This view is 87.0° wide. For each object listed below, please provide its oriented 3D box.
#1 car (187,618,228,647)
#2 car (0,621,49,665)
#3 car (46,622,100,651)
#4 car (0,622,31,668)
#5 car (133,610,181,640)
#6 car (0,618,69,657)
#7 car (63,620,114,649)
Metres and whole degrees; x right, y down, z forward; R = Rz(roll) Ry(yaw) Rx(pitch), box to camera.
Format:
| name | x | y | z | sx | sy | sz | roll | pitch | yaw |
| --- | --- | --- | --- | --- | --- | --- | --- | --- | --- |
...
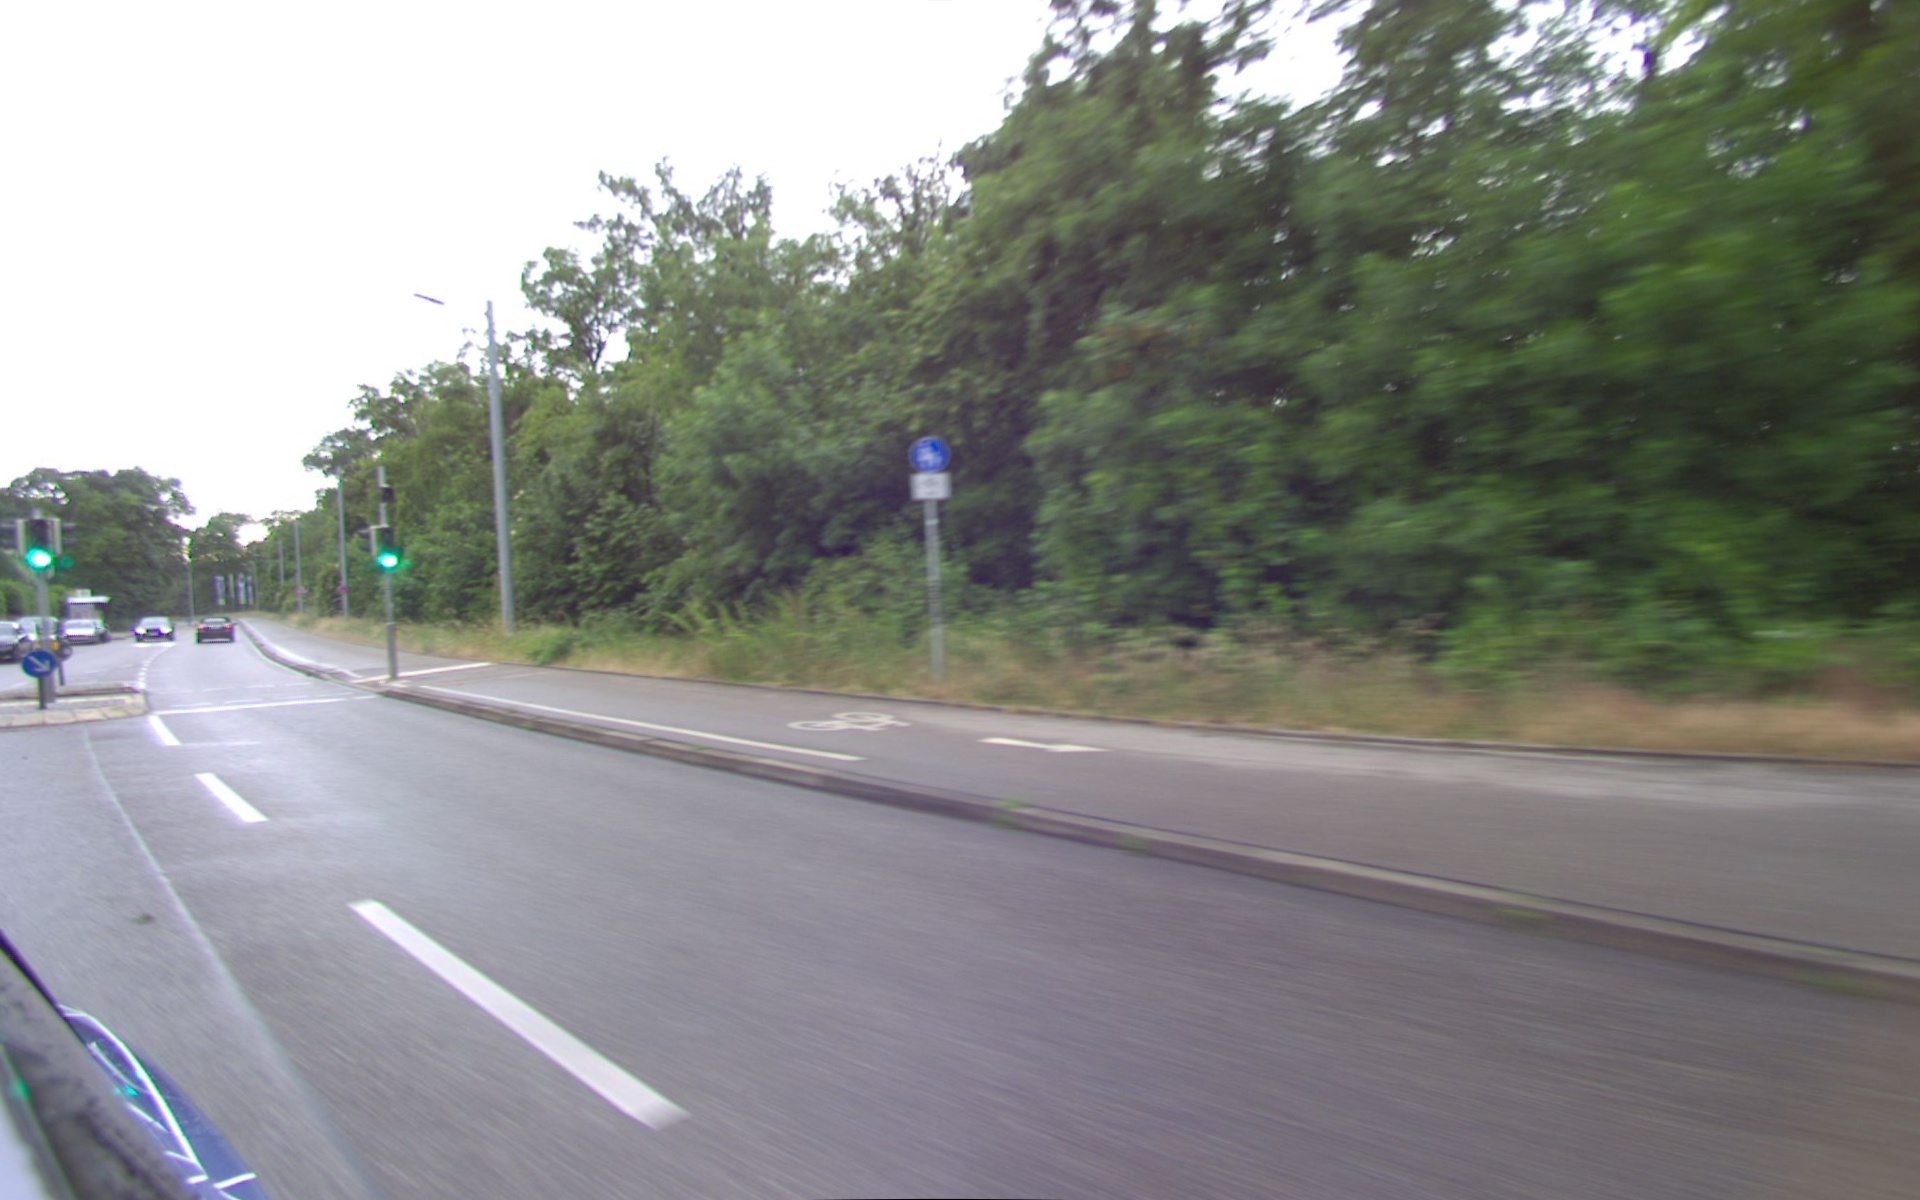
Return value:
| name | x | y | z | sx | sy | sz | roll | pitch | yaw |
| --- | --- | --- | --- | --- | --- | --- | --- | --- | --- |
| car | -42.032 | 1.766 | 56.586 | 1.720 | 1.471 | 4.425 | -1 | 0 | -35 |
| car | -37.042 | 1.652 | 39.479 | 1.769 | 1.498 | 4.506 | -2 | 1 | -36 |
| car | -50.156 | 2.021 | 57.306 | 1.789 | 1.408 | 4.113 | -2 | 1 | -35 |
| car | -33.781 | 1.564 | 35.096 | 1.728 | 1.454 | 4.611 | -2 | 1 | -36 |
| car | -48.659 | 1.485 | 61.417 | 1.967 | 1.737 | 4.010 | -1 | 0 | -34 |
| car | -40.605 | 1.628 | 44.453 | 1.707 | 1.579 | 4.532 | -1 | -1 | -36 |
| car | -52.756 | 2.062 | 61.345 | 1.805 | 1.559 | 4.642 | -2 | 1 | -34 |
